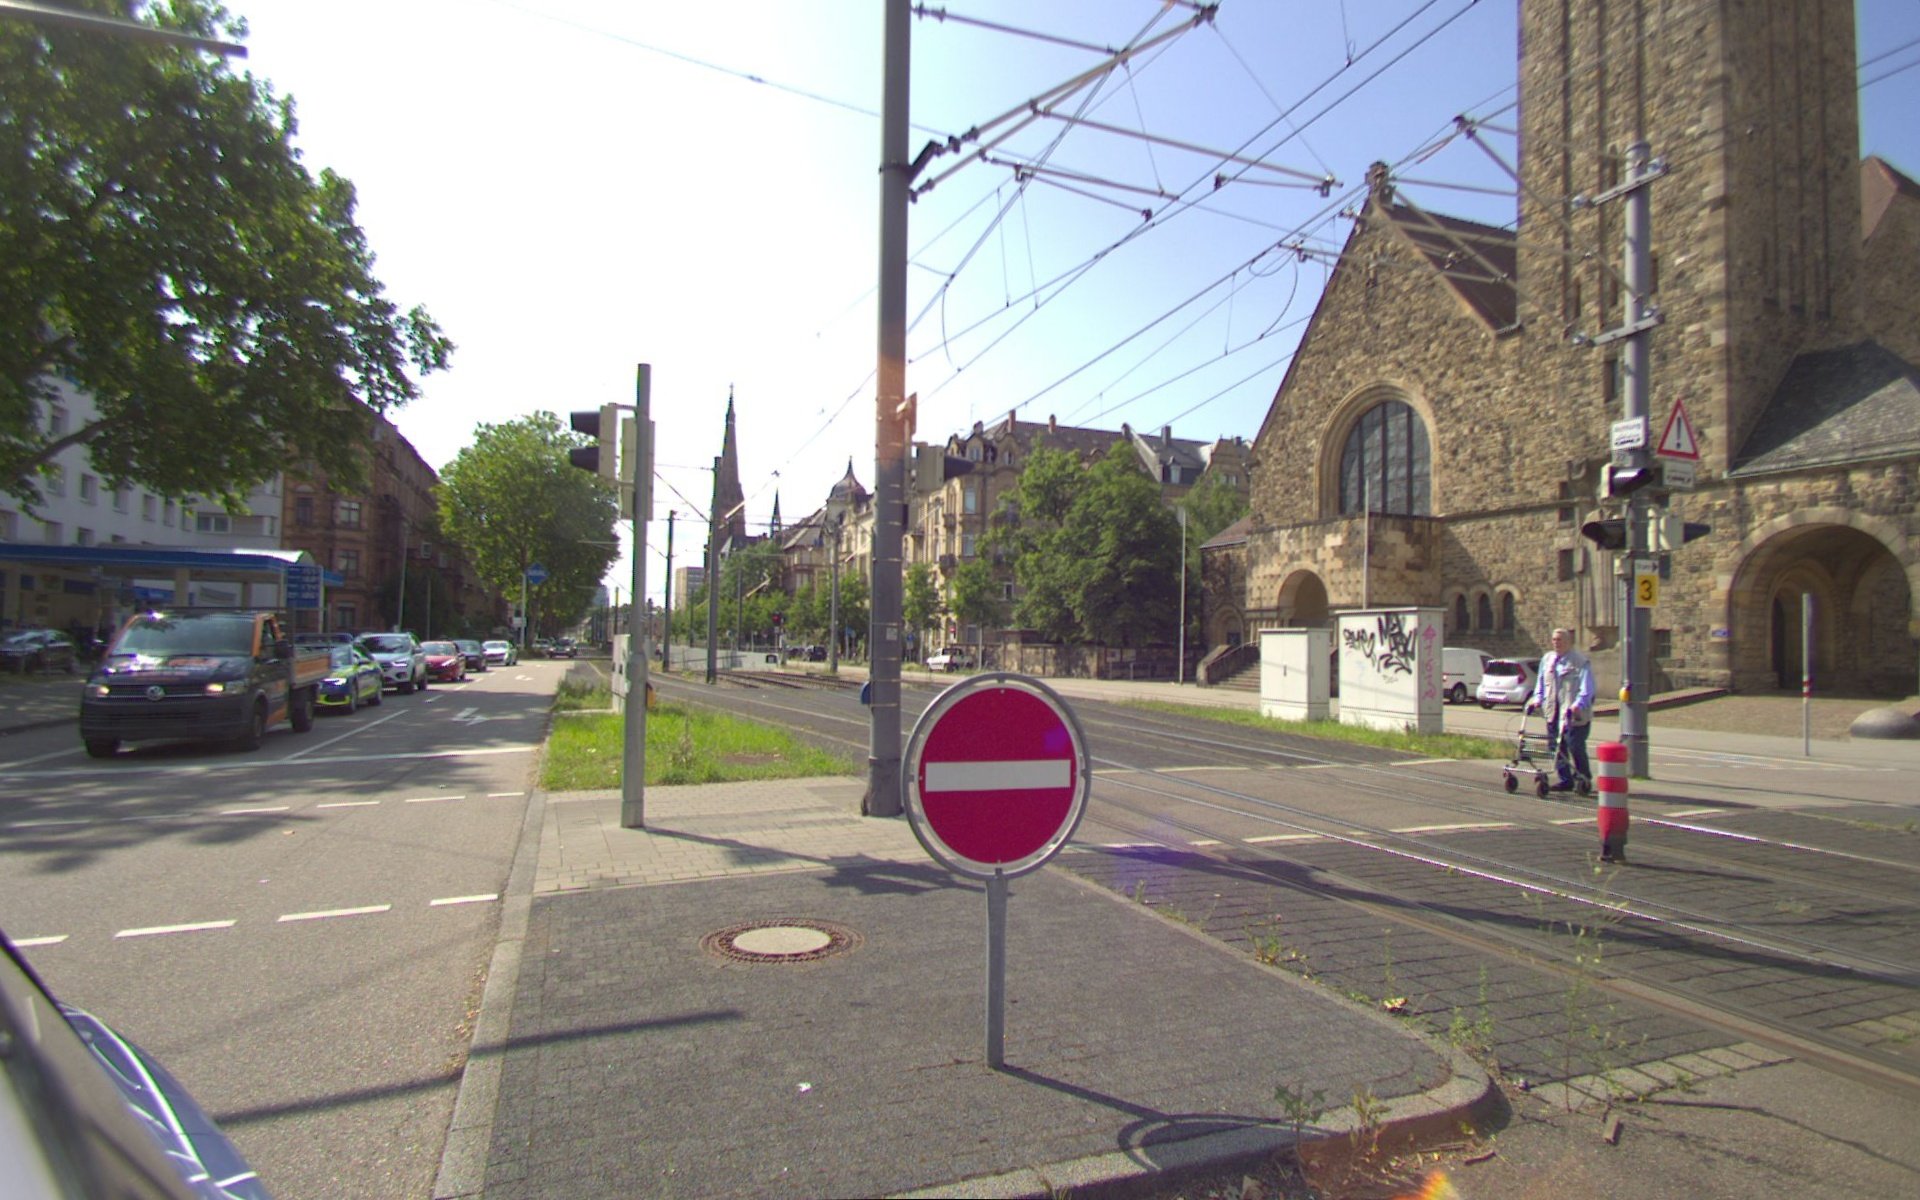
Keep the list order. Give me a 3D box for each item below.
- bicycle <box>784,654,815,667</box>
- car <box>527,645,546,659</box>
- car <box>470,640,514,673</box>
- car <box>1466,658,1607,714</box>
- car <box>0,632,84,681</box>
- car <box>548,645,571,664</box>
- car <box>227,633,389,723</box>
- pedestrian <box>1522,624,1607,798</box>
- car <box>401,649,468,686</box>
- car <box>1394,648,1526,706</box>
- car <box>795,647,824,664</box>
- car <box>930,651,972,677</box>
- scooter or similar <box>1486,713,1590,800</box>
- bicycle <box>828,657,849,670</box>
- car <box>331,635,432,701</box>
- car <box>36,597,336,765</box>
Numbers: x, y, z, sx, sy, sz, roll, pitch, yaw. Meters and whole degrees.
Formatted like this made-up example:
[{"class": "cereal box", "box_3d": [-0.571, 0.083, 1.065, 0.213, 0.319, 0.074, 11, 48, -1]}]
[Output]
[{"class": "bicycle", "box_3d": [-16.054, 6.057, 101.219, 2.906, 1.256, 0.795, 3, -4, -34]}, {"class": "car", "box_3d": [-41.469, 5.115, 99.179, 1.476, 1.313, 3.502, 0, -2, -19]}, {"class": "car", "box_3d": [-26.505, 3.165, 57.481, 1.919, 1.619, 5.093, 2, -2, -21]}, {"class": "car", "box_3d": [17.479, 2.606, 30.699, 3.713, 1.559, 1.803, 3, -3, -22]}, {"class": "car", "box_3d": [-28.903, 1.708, 31.129, 1.727, 1.421, 4.013, 2, -3, -22]}, {"class": "car", "box_3d": [-34.014, 4.601, 85.931, 1.735, 1.510, 4.200, 2, -3, -21]}, {"class": "car", "box_3d": [-13.646, 1.542, 21.517, 1.840, 1.665, 5.170, 1, -2, -21]}, {"class": "pedestrian", "box_3d": [6.320, 1.140, 10.596, 0.519, 1.746, 0.559, 3, -3, -26]}, {"class": "car", "box_3d": [-18.755, 2.395, 36.251, 1.593, 1.198, 3.644, 2, -3, -20]}, {"class": "car", "box_3d": [16.797, 2.592, 34.021, 3.945, 1.838, 1.870, 3, -3, -23]}, {"class": "car", "box_3d": [-14.170, 5.210, 94.993, 1.662, 1.514, 4.723, 3, -3, -20]}, {"class": "car", "box_3d": [-0.574, 3.869, 61.286, 1.646, 1.427, 3.853, 4, -3, -13]}, {"class": "scooter or similar", "box_3d": [5.931, 1.587, 10.392, 0.826, 0.810, 0.555, 3, -3, -25]}, {"class": "bicycle", "box_3d": [-10.380, 5.420, 86.663, 1.681, 1.077, 0.473, 3, -4, -27]}, {"class": "car", "box_3d": [-16.169, 1.850, 28.500, 1.735, 1.619, 4.694, 2, -2, -21]}, {"class": "car", "box_3d": [-10.994, 1.030, 14.932, 2.045, 2.002, 5.353, 2, -2, -21]}]
